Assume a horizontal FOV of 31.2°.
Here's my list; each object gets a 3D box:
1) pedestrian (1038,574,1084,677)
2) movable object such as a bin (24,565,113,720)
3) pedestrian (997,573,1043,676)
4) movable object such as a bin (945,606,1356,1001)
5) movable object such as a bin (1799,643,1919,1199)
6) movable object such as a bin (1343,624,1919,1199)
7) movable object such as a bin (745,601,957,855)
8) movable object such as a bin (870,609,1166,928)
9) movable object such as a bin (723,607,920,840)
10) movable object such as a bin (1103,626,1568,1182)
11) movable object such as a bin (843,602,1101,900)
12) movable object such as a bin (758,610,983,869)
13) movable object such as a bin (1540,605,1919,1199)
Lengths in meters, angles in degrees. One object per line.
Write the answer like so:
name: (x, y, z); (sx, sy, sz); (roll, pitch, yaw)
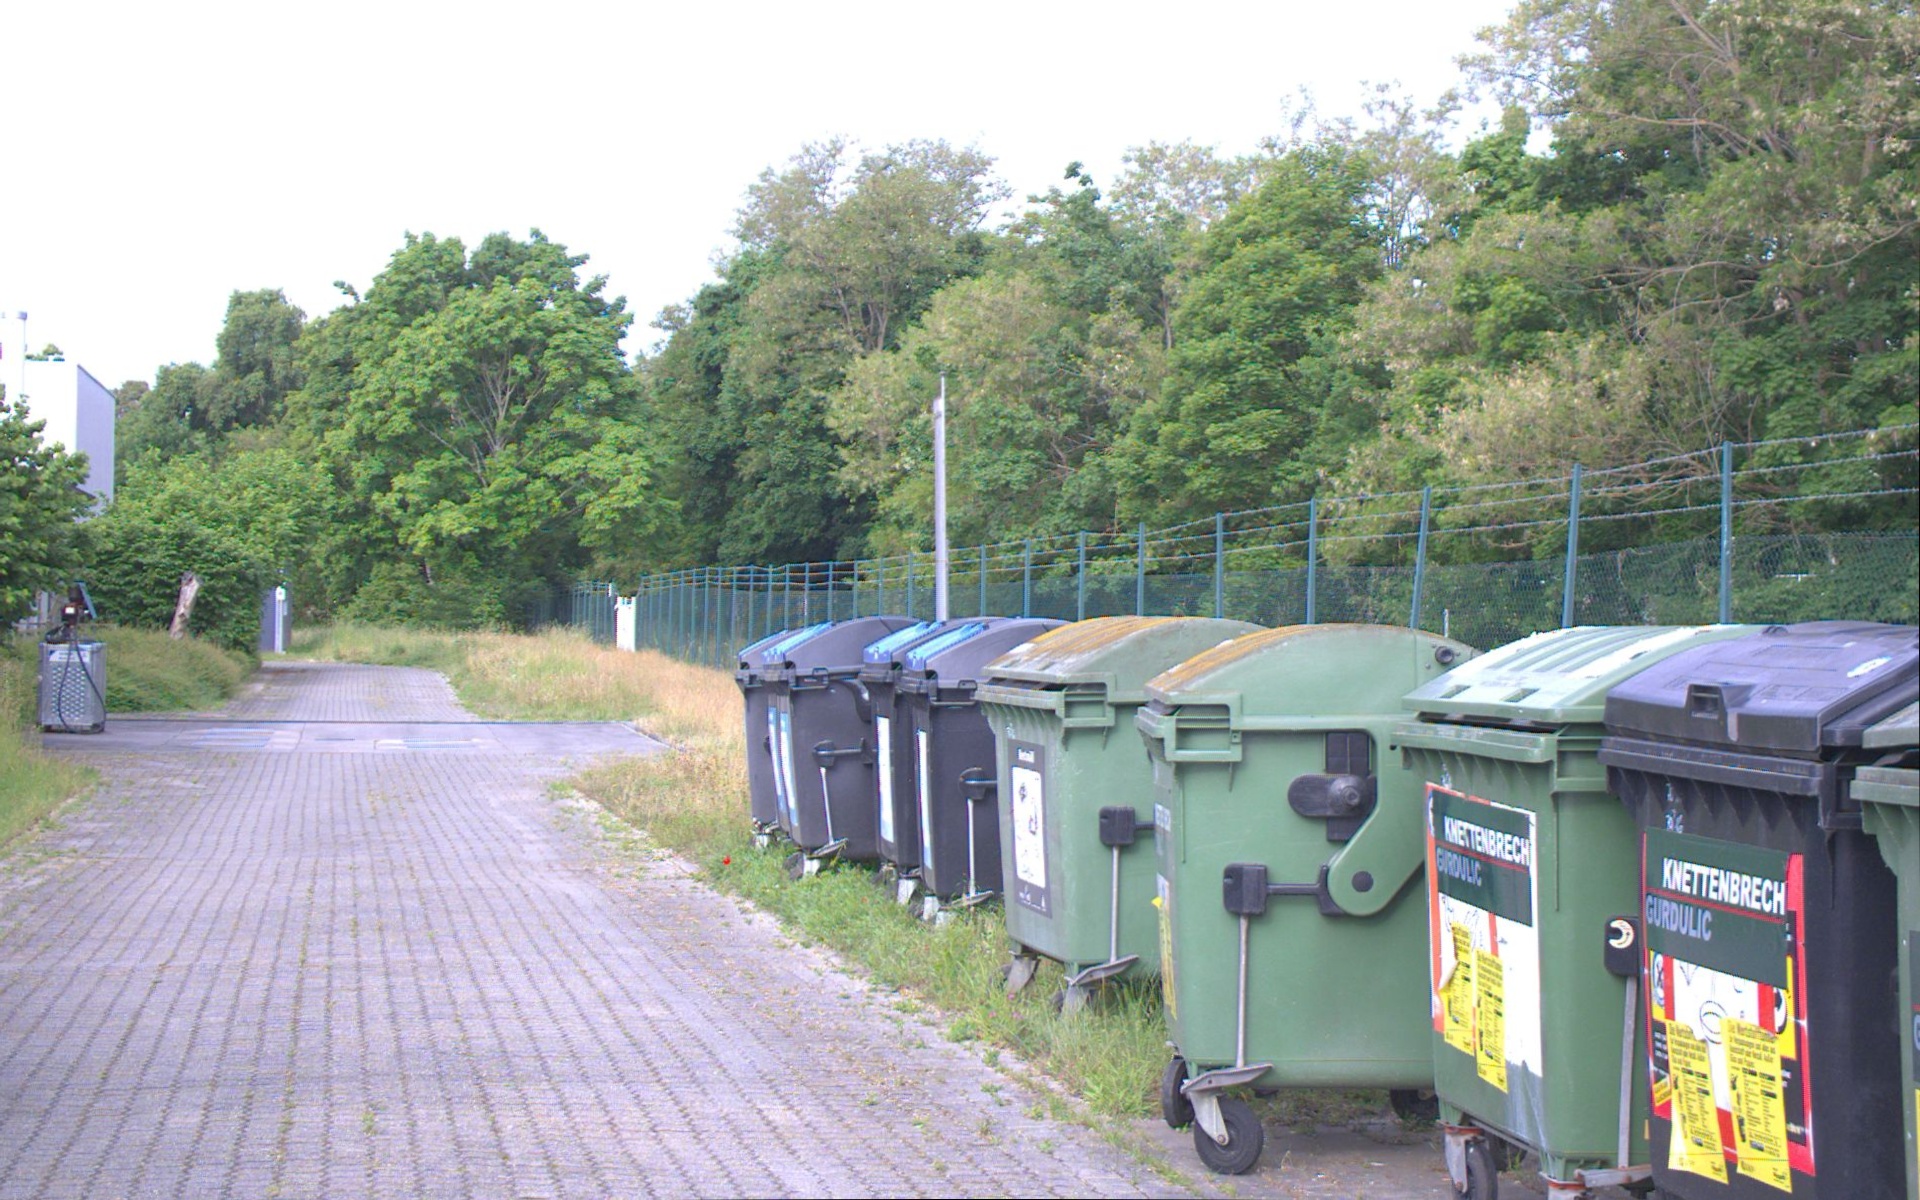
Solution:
pedestrian: (1.971, 0.501, 67.374); (0.759, 2.007, 0.664); (0, 0, -11)
movable object such as a bin: (-11.549, 0.546, 44.565); (0.935, 1.975, 0.853); (0, 0, -1)
pedestrian: (1.169, 0.483, 67.216); (0.759, 2.007, 0.664); (0, 0, -11)
movable object such as a bin: (0.633, 0.686, 12.026); (1.122, 1.292, 1.380); (1, -1, -10)
movable object such as a bin: (2.036, 0.772, 5.291); (1.128, 1.391, 1.356); (1, -1, -1)
movable object such as a bin: (1.581, 0.769, 7.943); (1.069, 1.401, 1.385); (1, -1, -7)
movable object such as a bin: (-0.635, 0.713, 19.514); (1.122, 1.375, 1.325); (1, -1, -4)
movable object such as a bin: (0.225, 0.720, 15.208); (1.154, 1.320, 1.494); (1, -1, -4)
movable object such as a bin: (-0.863, 0.736, 20.914); (1.122, 1.346, 1.426); (1, -1, -4)
movable object such as a bin: (0.985, 0.783, 9.453); (1.123, 1.393, 1.385); (1, -1, 1)
movable object such as a bin: (0.034, 0.716, 16.780); (1.122, 1.369, 1.494); (1, -1, -4)
movable object such as a bin: (-0.494, 0.715, 18.217); (1.122, 1.317, 1.325); (0, 0, -4)
movable object such as a bin: (1.849, 0.744, 6.636); (1.069, 1.430, 1.398); (1, -1, -7)
